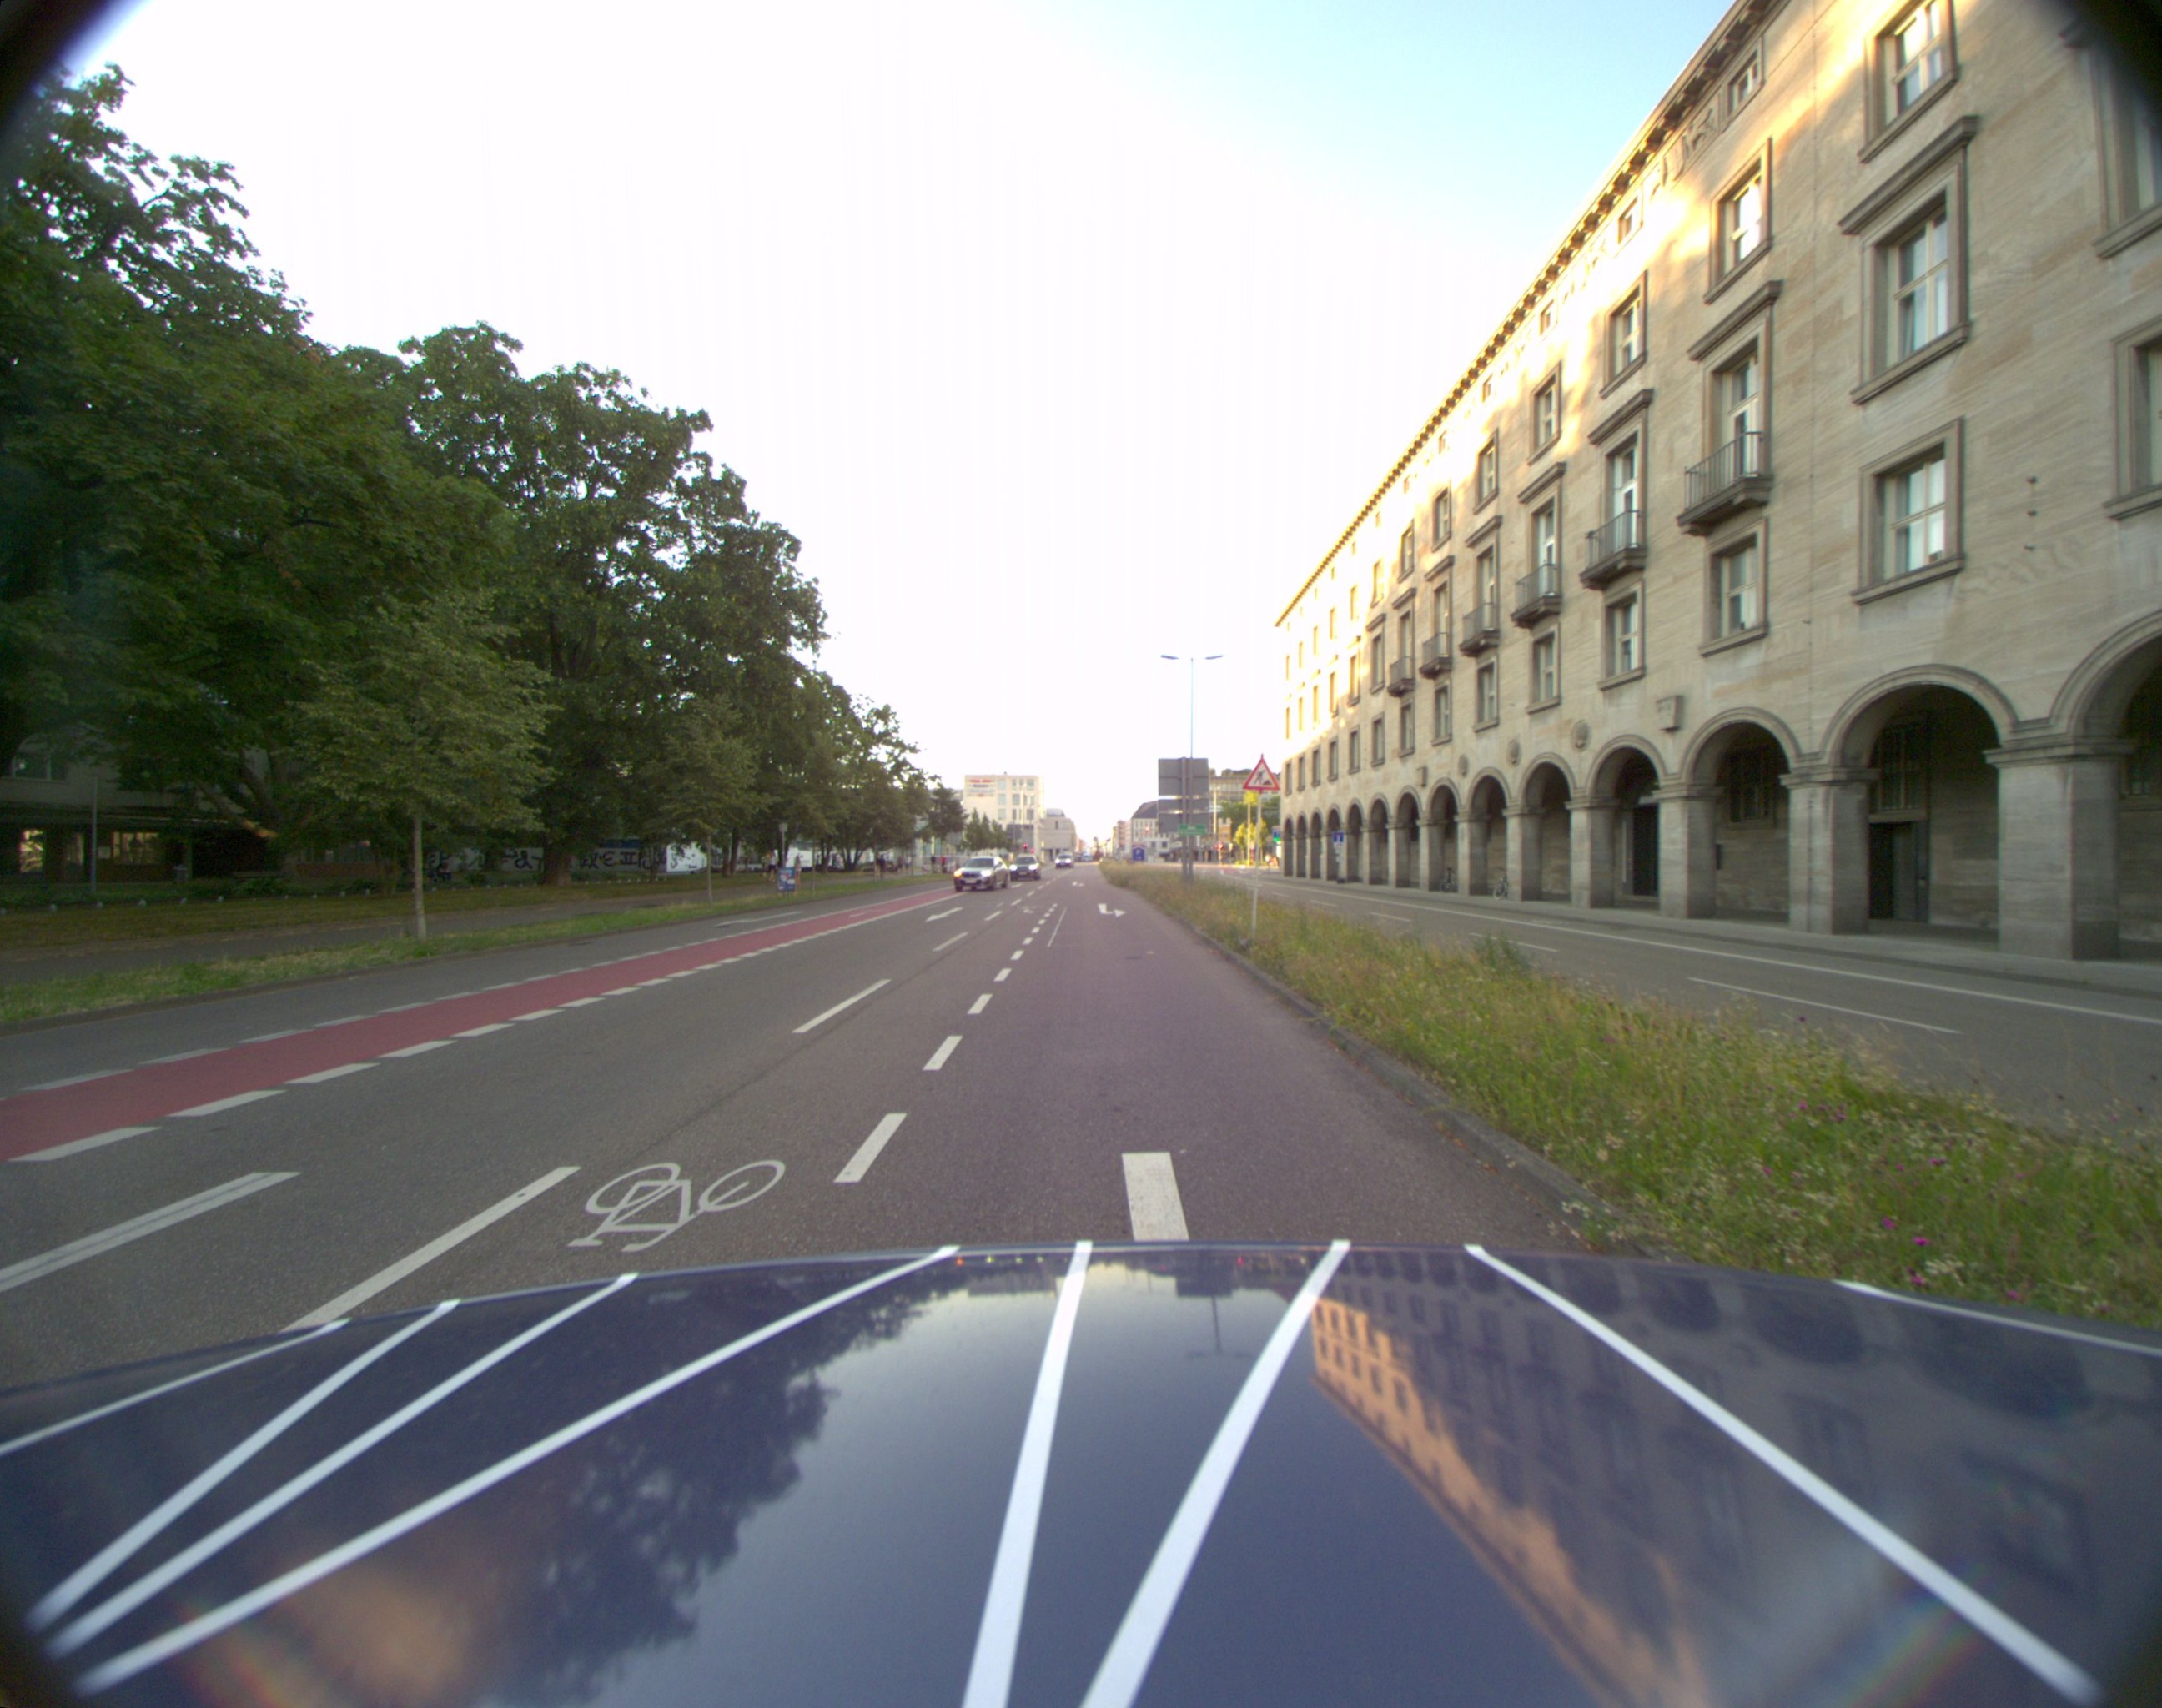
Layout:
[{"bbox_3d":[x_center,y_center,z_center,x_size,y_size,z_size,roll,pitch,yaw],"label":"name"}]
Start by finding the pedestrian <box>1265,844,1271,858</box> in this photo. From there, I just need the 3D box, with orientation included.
[{"bbox_3d":[23.925,-0.368,97.138,0.638,1.747,0.506,0,1,1],"label":"pedestrian"}]

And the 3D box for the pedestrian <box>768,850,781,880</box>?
[{"bbox_3d":[-16.447,0.606,40.809,0.500,1.592,0.522,0,1,1],"label":"pedestrian"}]

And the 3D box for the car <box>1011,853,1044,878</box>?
[{"bbox_3d":[-3.522,0.742,50.569,1.782,1.617,4.215,-1,0,1],"label":"car"}]

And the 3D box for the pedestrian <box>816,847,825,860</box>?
[{"bbox_3d":[-26.726,-0.065,77.916,0.631,1.347,0.681,0,1,1],"label":"pedestrian"}]

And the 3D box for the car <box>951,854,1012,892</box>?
[{"bbox_3d":[-4.746,0.870,36.841,1.825,1.612,4.339,-2,0,7],"label":"car"}]

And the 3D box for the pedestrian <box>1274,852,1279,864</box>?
[{"bbox_3d":[24.944,0.514,96.913,0.526,1.532,0.390,0,1,1],"label":"pedestrian"}]

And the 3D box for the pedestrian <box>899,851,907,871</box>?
[{"bbox_3d":[-15.009,0.571,64.012,0.519,1.720,0.719,0,1,1],"label":"pedestrian"}]

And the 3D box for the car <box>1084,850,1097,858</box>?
[{"bbox_3d":[2.706,-0.116,220.024,1.995,2.297,5.097,0,0,21],"label":"car"}]

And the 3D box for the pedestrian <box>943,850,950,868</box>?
[{"bbox_3d":[-13.480,0.501,76.305,0.638,1.747,0.506,0,1,1],"label":"pedestrian"}]

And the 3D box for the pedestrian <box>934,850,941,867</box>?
[{"bbox_3d":[-14.502,0.458,76.730,0.638,1.747,0.506,0,1,1],"label":"pedestrian"}]

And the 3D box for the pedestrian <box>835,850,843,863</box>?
[{"bbox_3d":[-25.025,0.296,78.612,0.662,1.347,0.559,0,1,1],"label":"pedestrian"}]

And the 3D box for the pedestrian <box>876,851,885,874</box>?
[{"bbox_3d":[-15.071,0.647,57.129,0.509,1.720,0.719,0,1,1],"label":"pedestrian"}]

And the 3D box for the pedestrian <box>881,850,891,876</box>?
[{"bbox_3d":[-13.403,0.613,52.314,0.558,1.729,0.555,0,1,1],"label":"pedestrian"}]

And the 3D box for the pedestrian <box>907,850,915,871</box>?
[{"bbox_3d":[-14.261,0.560,63.754,0.509,1.720,0.719,0,1,1],"label":"pedestrian"}]

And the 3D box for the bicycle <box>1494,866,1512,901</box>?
[{"bbox_3d":[15.338,1.041,27.590,0.513,1.115,2.427,0,1,30],"label":"bicycle"}]

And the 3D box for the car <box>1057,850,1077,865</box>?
[{"bbox_3d":[-1.580,0.359,88.854,1.781,1.676,4.217,0,0,6],"label":"car"}]

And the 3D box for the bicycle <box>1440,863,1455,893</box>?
[{"bbox_3d":[15.471,1.004,32.122,0.513,1.172,2.427,0,0,25],"label":"bicycle"}]

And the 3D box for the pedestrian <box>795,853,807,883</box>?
[{"bbox_3d":[-15.109,0.764,40.938,0.500,1.592,0.365,0,1,1],"label":"pedestrian"}]
